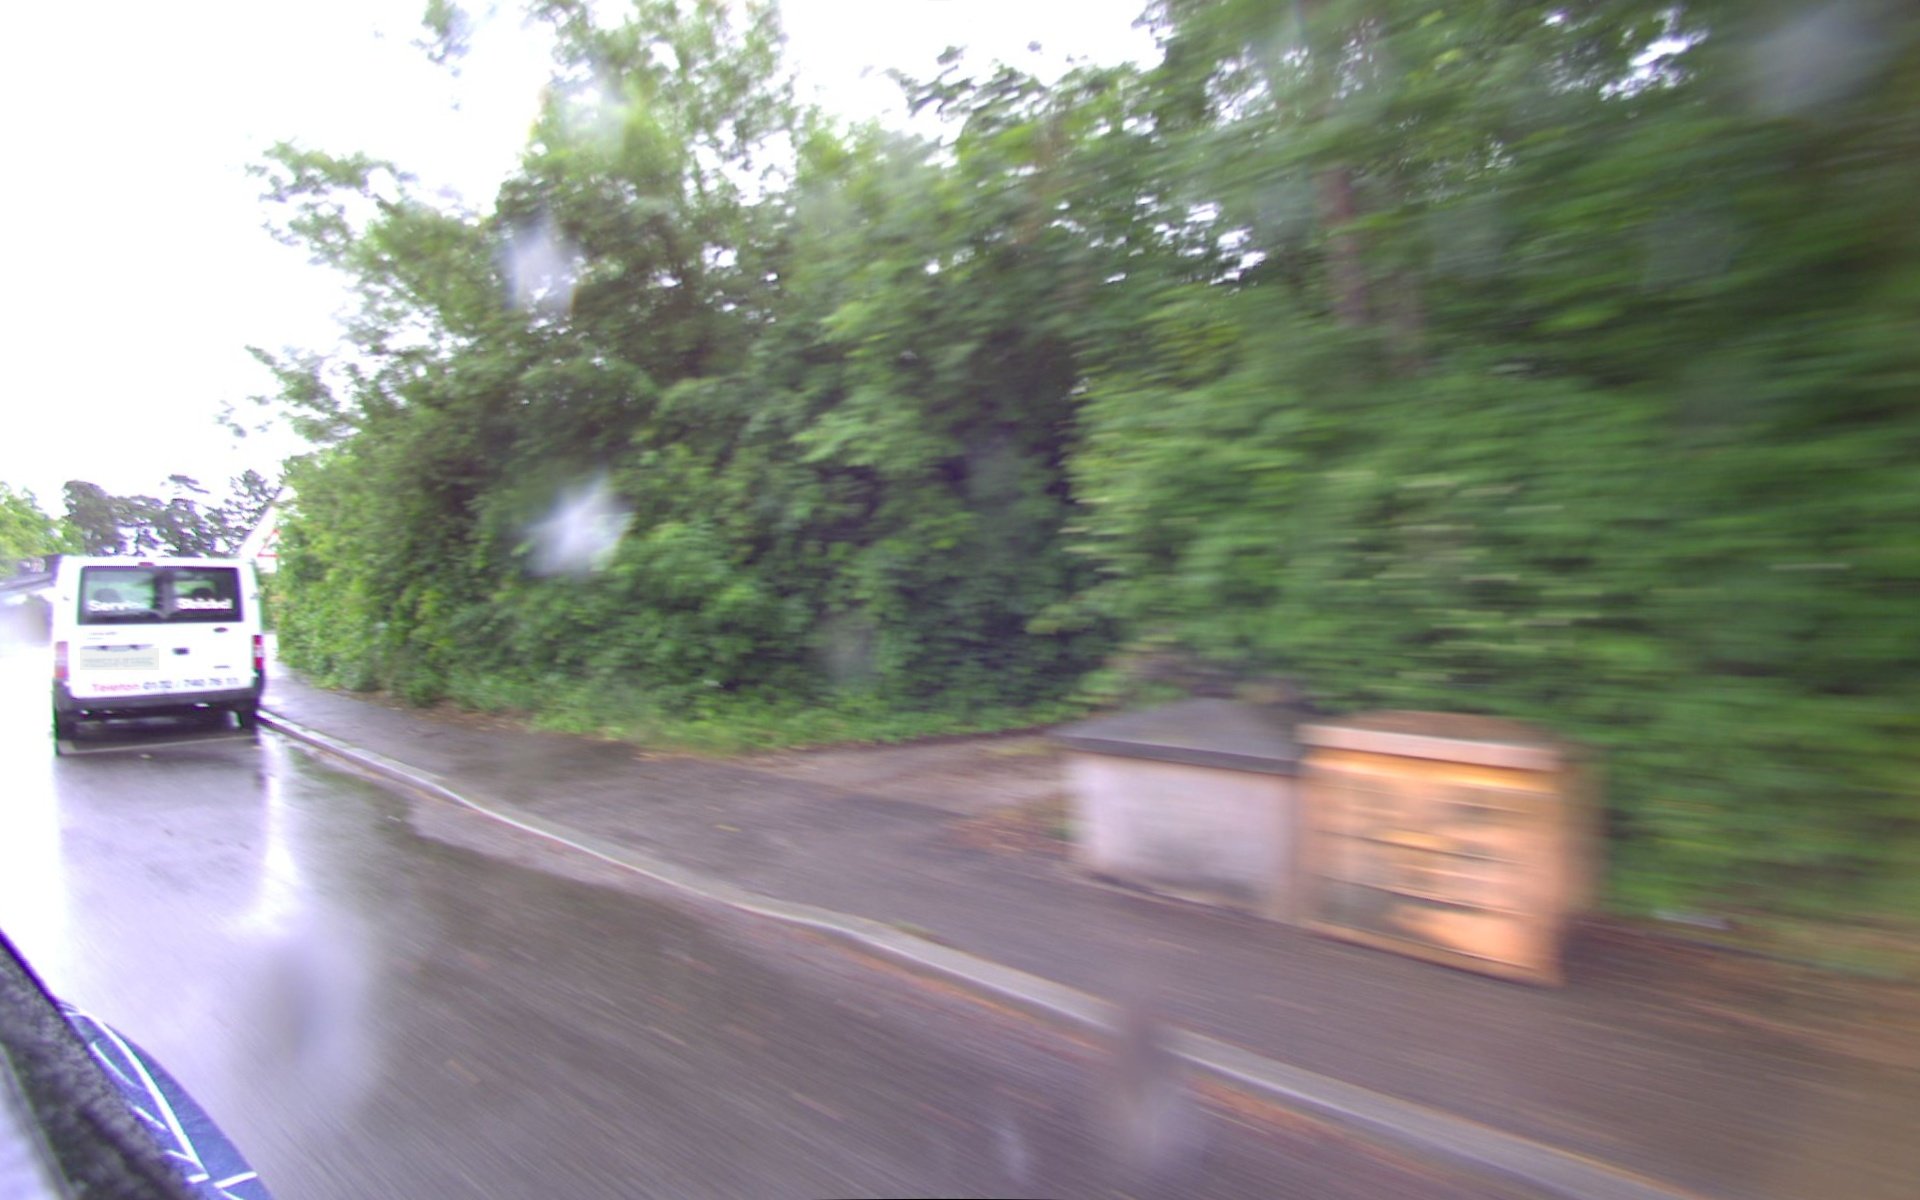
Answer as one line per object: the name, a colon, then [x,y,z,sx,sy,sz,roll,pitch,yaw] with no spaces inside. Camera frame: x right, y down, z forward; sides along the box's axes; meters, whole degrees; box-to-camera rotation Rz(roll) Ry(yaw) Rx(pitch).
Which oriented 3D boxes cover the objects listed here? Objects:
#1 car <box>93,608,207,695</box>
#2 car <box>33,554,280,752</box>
car: [-15.596,0.934,19.603,1.581,1.523,2.949,-1,-1,-36]
car: [-10.327,0.569,12.834,2.086,1.989,5.178,0,-1,-42]
